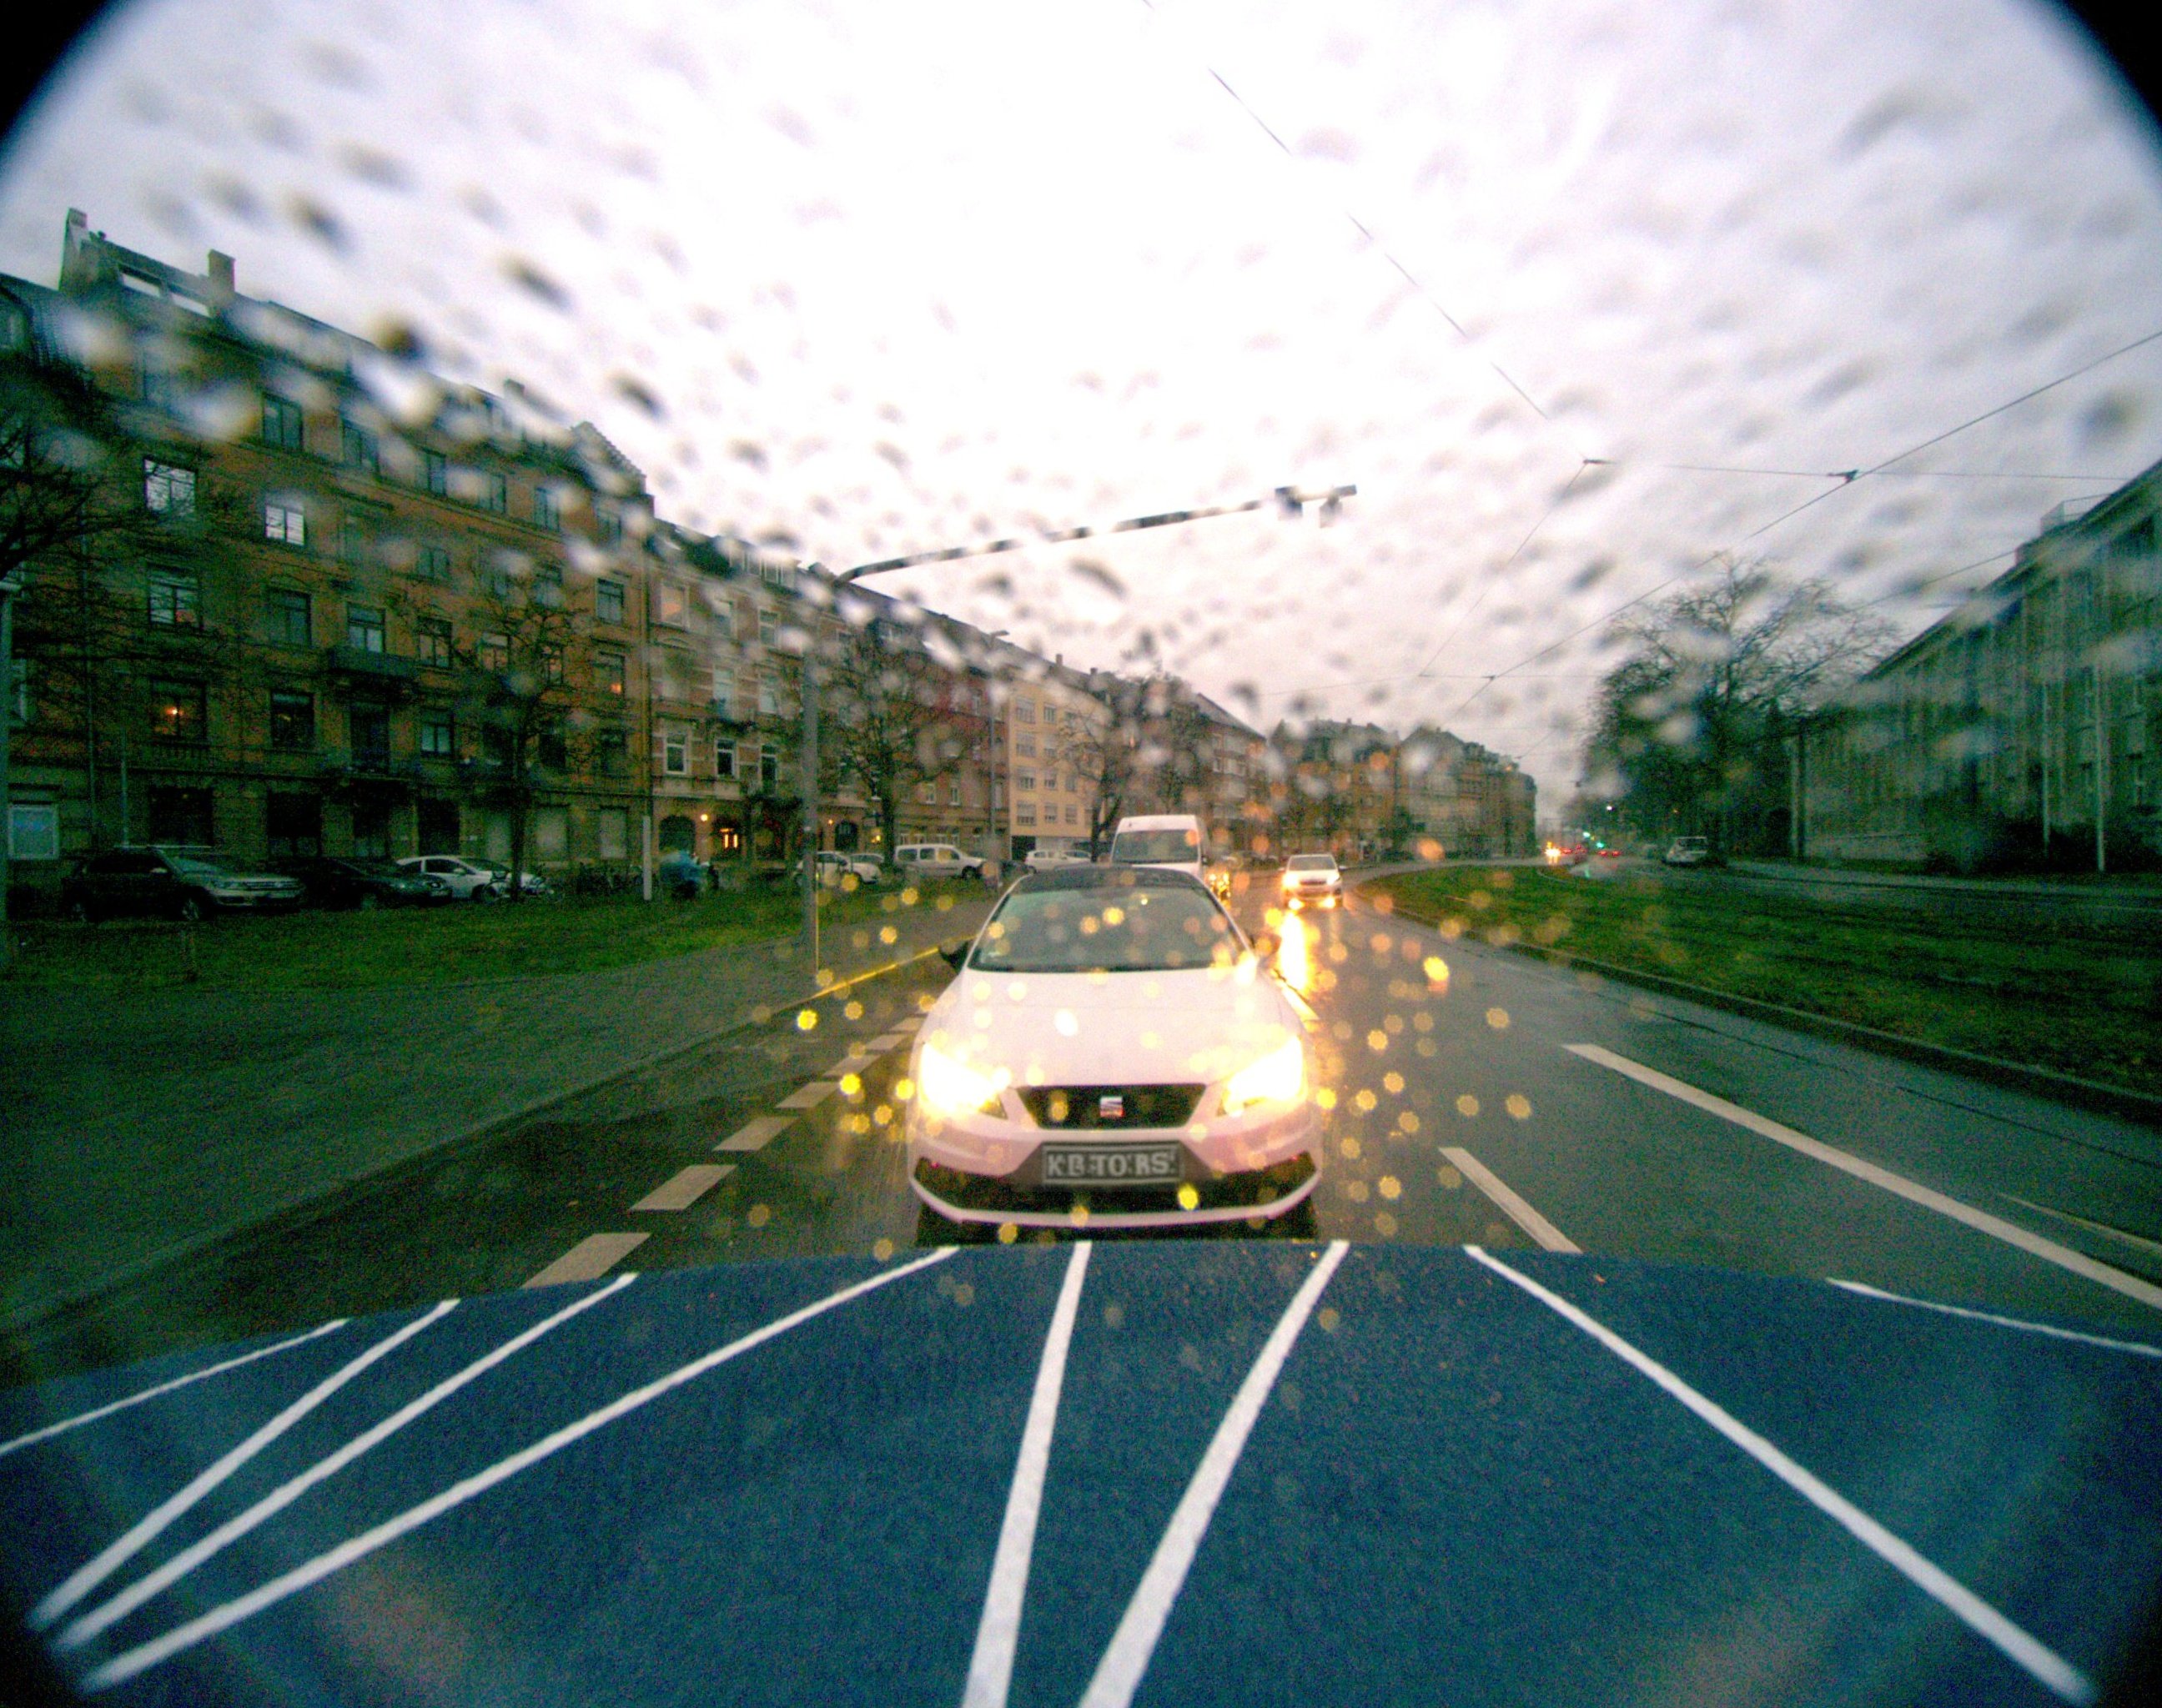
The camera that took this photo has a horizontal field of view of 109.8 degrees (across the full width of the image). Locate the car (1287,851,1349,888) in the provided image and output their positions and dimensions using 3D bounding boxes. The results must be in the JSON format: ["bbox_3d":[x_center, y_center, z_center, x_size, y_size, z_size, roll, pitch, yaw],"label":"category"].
[{"bbox_3d":[10.485,0.634,33.449,1.836,1.525,3.823,-1,0,29],"label":"car"}]

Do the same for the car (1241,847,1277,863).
[{"bbox_3d":[16.232,0.048,69.177,3.181,1.405,1.383,-1,0,14],"label":"car"}]

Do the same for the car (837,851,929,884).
[{"bbox_3d":[-8.855,0.604,34.165,3.684,1.428,1.521,-1,0,5],"label":"car"}]

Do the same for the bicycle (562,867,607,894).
[{"bbox_3d":[-16.400,0.870,25.080,1.790,0.790,0.447,1,1,28],"label":"bicycle"}]

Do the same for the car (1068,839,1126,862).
[{"bbox_3d":[1.048,-0.208,48.430,3.611,1.362,1.618,-1,0,3],"label":"car"}]

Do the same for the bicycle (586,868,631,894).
[{"bbox_3d":[-15.899,0.896,25.564,1.790,0.773,0.447,1,1,28],"label":"bicycle"}]

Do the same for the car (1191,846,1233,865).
[{"bbox_3d":[10.277,0.088,59.559,3.181,1.420,1.429,-1,0,13],"label":"car"}]

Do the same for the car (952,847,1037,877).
[{"bbox_3d":[-4.405,0.393,38.758,3.958,1.436,1.702,-1,0,10],"label":"car"}]

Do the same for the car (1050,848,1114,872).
[{"bbox_3d":[0.084,0.355,45.935,3.609,1.362,1.619,-1,0,9],"label":"car"}]

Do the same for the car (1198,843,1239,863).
[{"bbox_3d":[11.274,-0.087,62.148,3.181,1.615,1.429,-1,1,13],"label":"car"}]

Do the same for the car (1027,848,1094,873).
[{"bbox_3d":[-1.148,0.363,43.667,3.609,1.362,1.619,-1,0,9],"label":"car"}]

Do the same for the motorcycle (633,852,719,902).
[{"bbox_3d":[-12.062,0.653,22.617,2.352,1.338,0.886,2,2,19],"label":"motorcycle"}]

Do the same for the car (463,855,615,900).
[{"bbox_3d":[-16.771,0.724,23.619,3.684,1.298,1.521,-1,0,4],"label":"car"}]

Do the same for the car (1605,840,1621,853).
[{"bbox_3d":[69.416,-1.027,99.121,1.686,1.630,3.654,0,0,34],"label":"car"}]

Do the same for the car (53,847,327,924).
[{"bbox_3d":[-19.535,0.664,16.769,4.152,1.560,1.742,-1,0,4],"label":"car"}]

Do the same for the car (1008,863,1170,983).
[{"bbox_3d":[0.307,0.892,11.346,1.722,1.380,3.825,-2,0,11],"label":"car"}]

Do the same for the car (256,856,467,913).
[{"bbox_3d":[-17.805,0.739,18.926,3.684,1.298,1.742,-1,0,4],"label":"car"}]

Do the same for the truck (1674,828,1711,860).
[{"bbox_3d":[41.757,-0.670,51.968,1.833,2.032,4.008,0,0,37],"label":"truck"}]

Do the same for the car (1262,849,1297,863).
[{"bbox_3d":[18.886,0.148,72.194,3.181,1.276,1.383,-1,0,14],"label":"car"}]

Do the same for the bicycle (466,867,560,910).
[{"bbox_3d":[-14.567,0.866,19.531,1.911,1.013,0.535,0,1,-36],"label":"bicycle"}]

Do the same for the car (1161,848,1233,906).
[{"bbox_3d":[3.906,0.690,25.068,1.874,1.679,4.175,-1,0,15],"label":"car"}]

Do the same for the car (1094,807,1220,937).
[{"bbox_3d":[1.961,0.331,17.401,2.239,2.448,5.674,-1,0,12],"label":"car"}]

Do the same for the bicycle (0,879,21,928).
[{"bbox_3d":[-22.171,0.971,15.162,1.792,0.926,0.446,1,1,10],"label":"bicycle"}]

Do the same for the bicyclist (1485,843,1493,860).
[{"bbox_3d":[51.363,-0.331,95.723,0.777,2.002,0.831,-1,1,31],"label":"bicyclist"}]

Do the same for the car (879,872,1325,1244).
[{"bbox_3d":[0.145,0.902,5.259,1.787,1.370,4.223,-2,0,2],"label":"car"}]

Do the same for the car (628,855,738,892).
[{"bbox_3d":[-14.741,0.715,28.252,3.297,1.298,1.521,-1,0,5],"label":"car"}]

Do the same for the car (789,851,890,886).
[{"bbox_3d":[-10.020,0.586,31.676,3.684,1.391,1.521,-1,0,5],"label":"car"}]

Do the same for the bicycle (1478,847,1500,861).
[{"bbox_3d":[51.385,-0.041,95.733,2.446,1.697,0.847,-2,1,30],"label":"bicycle"}]

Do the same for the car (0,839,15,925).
[{"bbox_3d":[-29.169,0.733,17.833,1.994,2.176,4.670,-1,0,33],"label":"car"}]

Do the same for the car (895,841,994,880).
[{"bbox_3d":[-6.517,0.305,36.510,4.341,1.757,1.782,-1,0,4],"label":"car"}]

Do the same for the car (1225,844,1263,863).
[{"bbox_3d":[14.352,-0.058,66.779,3.181,1.615,1.447,-1,1,13],"label":"car"}]

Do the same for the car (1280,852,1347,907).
[{"bbox_3d":[6.778,0.700,22.120,1.687,1.422,3.350,-1,0,18],"label":"car"}]

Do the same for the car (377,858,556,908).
[{"bbox_3d":[-17.036,0.781,21.161,3.684,1.298,1.669,-1,0,4],"label":"car"}]

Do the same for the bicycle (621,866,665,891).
[{"bbox_3d":[-15.379,0.845,26.658,1.791,0.813,0.395,1,1,25],"label":"bicycle"}]

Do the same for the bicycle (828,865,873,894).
[{"bbox_3d":[-7.909,0.860,26.036,1.790,0.926,0.447,2,1,33],"label":"bicycle"}]
